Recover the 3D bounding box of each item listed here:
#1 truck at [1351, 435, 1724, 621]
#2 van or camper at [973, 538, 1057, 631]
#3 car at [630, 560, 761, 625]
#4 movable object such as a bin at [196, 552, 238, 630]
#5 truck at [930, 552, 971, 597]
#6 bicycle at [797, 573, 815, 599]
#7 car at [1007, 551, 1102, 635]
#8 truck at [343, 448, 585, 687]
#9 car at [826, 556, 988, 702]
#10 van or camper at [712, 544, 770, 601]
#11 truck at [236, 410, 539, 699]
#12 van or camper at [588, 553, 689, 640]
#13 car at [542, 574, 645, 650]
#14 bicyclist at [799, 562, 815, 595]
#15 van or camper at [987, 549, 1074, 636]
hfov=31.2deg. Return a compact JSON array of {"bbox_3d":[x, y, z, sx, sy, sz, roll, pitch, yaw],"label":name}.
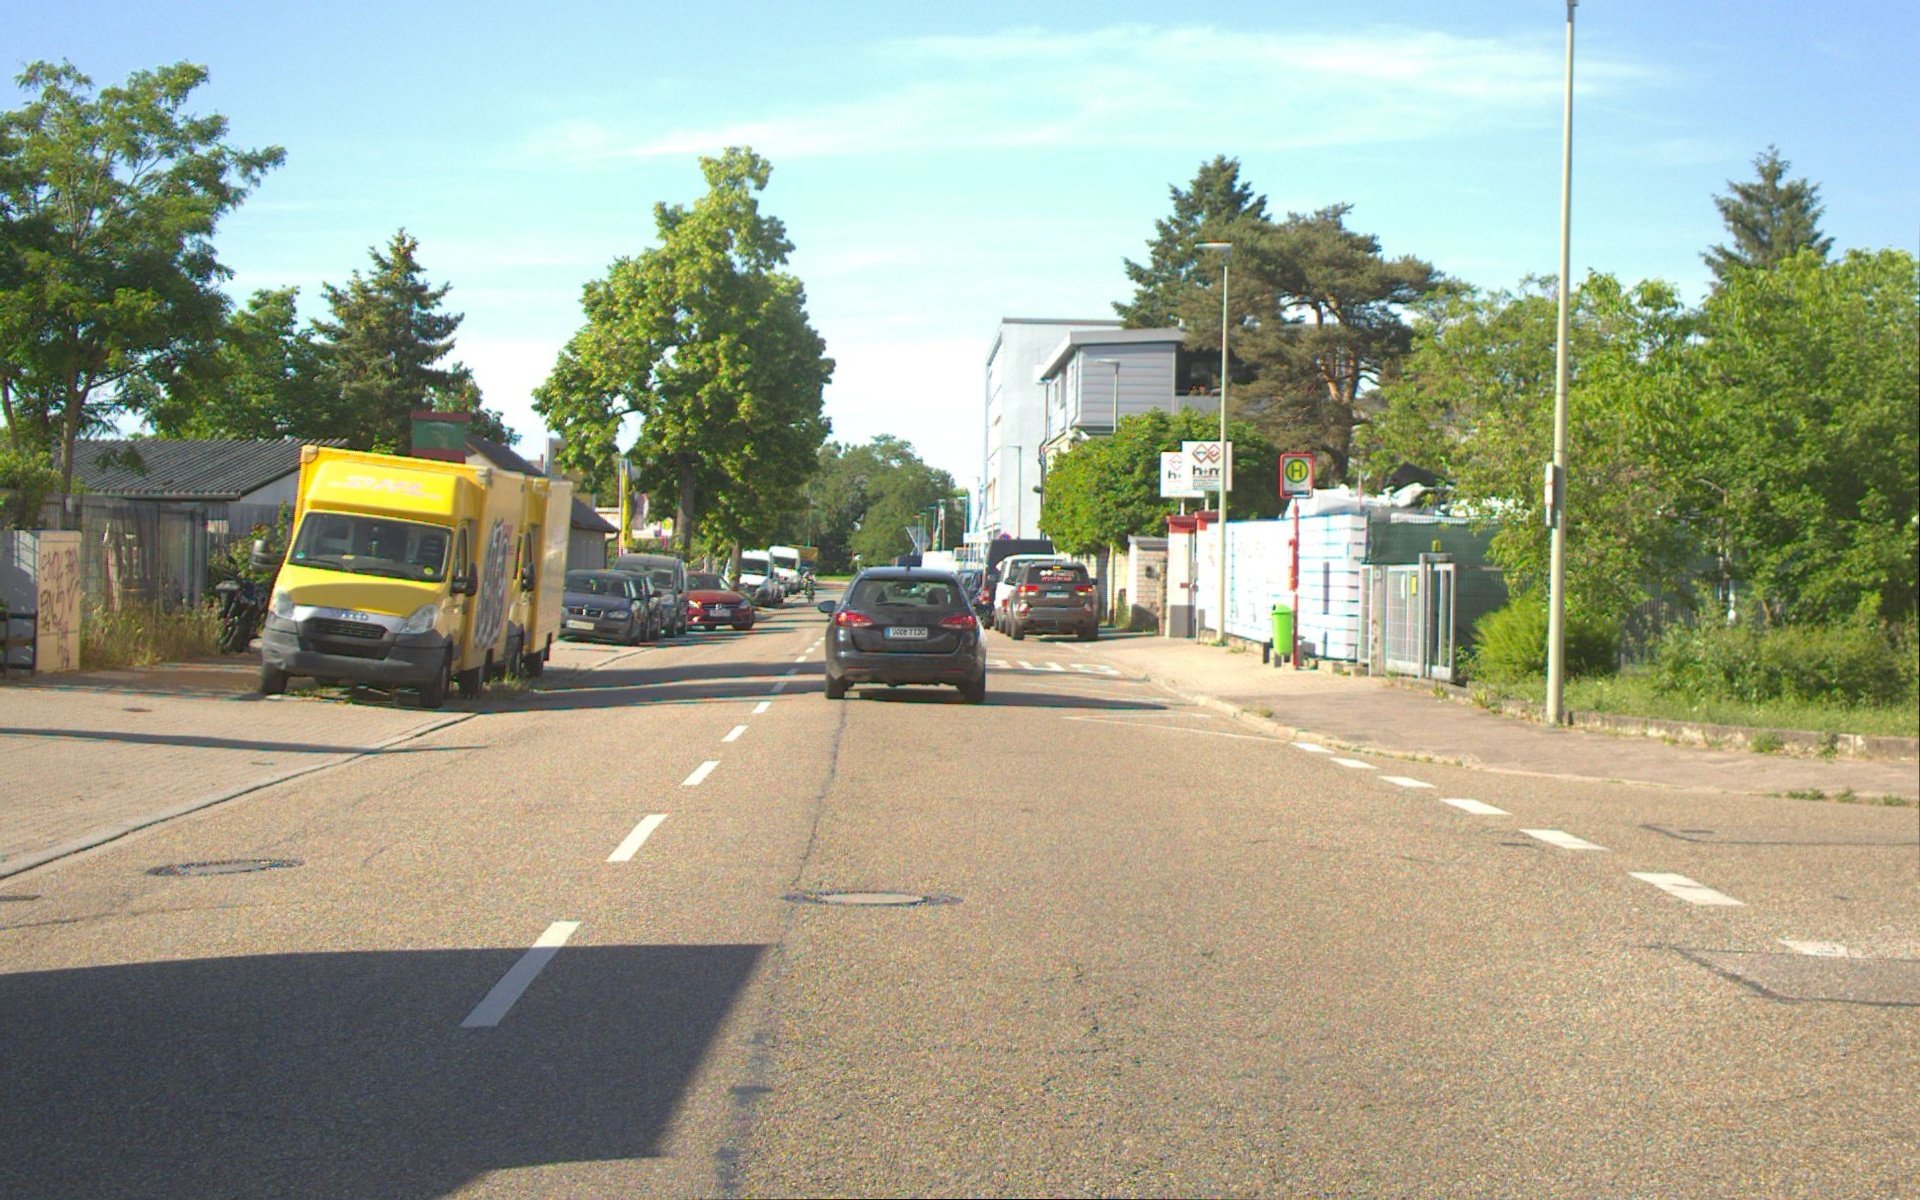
[{"bbox_3d":[12.407,-1.527,74.216,7.372,3.758,2.833,1,0,-5],"label":"truck"},{"bbox_3d":[1.392,-0.415,89.022,1.993,2.302,4.000,1,0,-1],"label":"van or camper"},{"bbox_3d":[-6.500,-0.206,84.134,1.875,1.480,4.045,-1,1,-25],"label":"car"},{"bbox_3d":[-12.889,-0.161,59.640,0.585,1.335,0.549,1,1,-1],"label":"movable object such as a bin"},{"bbox_3d":[-0.527,-1.359,183.471,1.993,2.280,6.956,1,1,-1],"label":"truck"},{"bbox_3d":[-7.235,-0.661,161.470,0.829,1.149,2.941,1,1,-3],"label":"bicycle"},{"bbox_3d":[2.114,-0.176,77.724,1.919,1.819,4.080,1,1,-1],"label":"car"},{"bbox_3d":[-6.599,-0.445,46.509,2.192,2.892,6.439,3,1,0],"label":"truck"},{"bbox_3d":[-0.565,0.284,38.500,1.711,1.527,3.687,1,1,0],"label":"car"},{"bbox_3d":[-9.580,-1.212,150.070,2.323,2.354,6.529,1,1,-5],"label":"van or camper"},{"bbox_3d":[-6.511,-0.512,39.954,2.402,2.973,6.374,3,0,-1],"label":"truck"},{"bbox_3d":[-7.295,-0.077,78.347,1.890,1.919,4.266,0,0,0],"label":"van or camper"},{"bbox_3d":[-7.260,0.218,68.411,1.756,1.398,4.558,1,1,-3],"label":"car"},{"bbox_3d":[-7.186,-1.001,161.423,0.695,1.534,0.635,1,0,-3],"label":"bicyclist"},{"bbox_3d":[1.704,-0.201,83.915,1.919,2.012,4.080,1,1,-1],"label":"van or camper"}]
